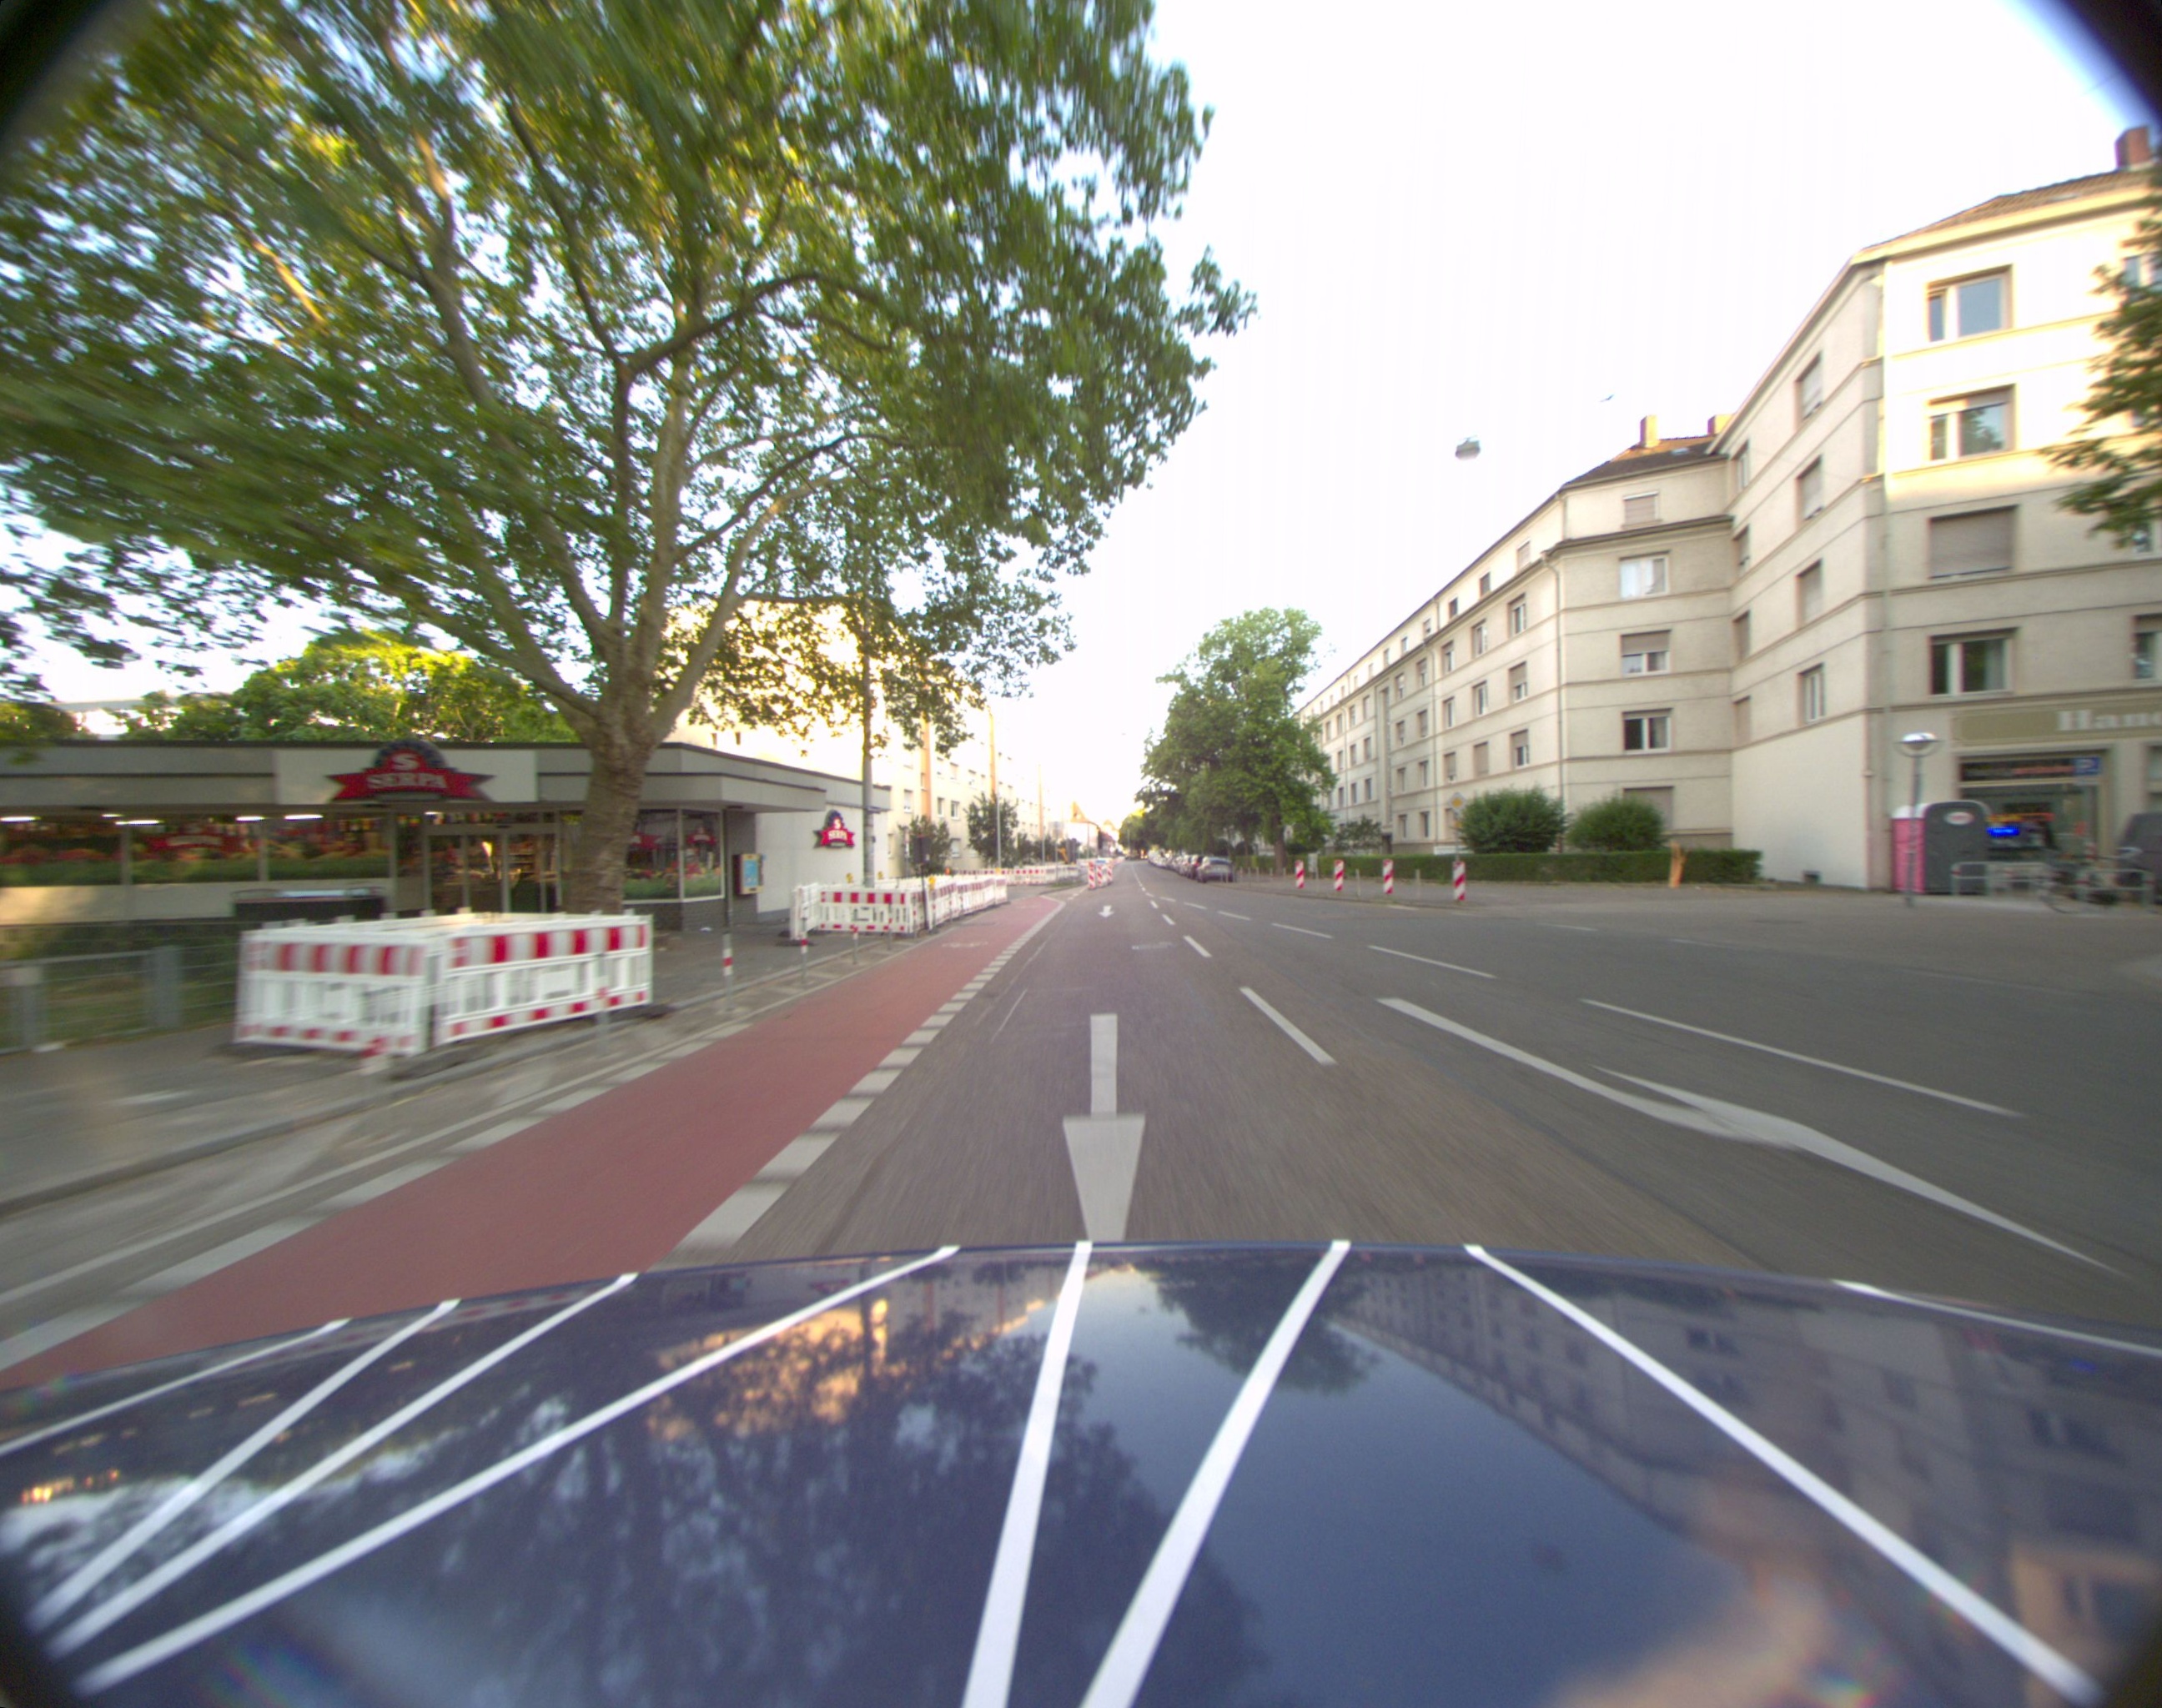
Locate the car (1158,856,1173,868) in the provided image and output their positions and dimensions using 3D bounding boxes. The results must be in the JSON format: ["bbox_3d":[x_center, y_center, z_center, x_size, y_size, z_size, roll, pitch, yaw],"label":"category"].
[{"bbox_3d":[12.049,1.080,108.510,1.892,1.591,4.260,-2,1,6],"label":"car"}]

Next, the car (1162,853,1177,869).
[{"bbox_3d":[11.474,0.861,98.839,1.892,1.855,4.260,-2,1,6],"label":"car"}]

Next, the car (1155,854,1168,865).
[{"bbox_3d":[13.071,0.834,123.434,1.892,1.591,4.260,-2,1,6],"label":"car"}]

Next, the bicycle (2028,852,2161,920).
[{"bbox_3d":[19.288,0.599,14.240,1.802,1.199,0.648,-2,1,33],"label":"bicycle"}]

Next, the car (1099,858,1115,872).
[{"bbox_3d":[3.623,1.507,103.959,1.892,1.726,4.260,-2,1,6],"label":"car"}]

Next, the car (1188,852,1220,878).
[{"bbox_3d":[8.506,0.730,52.800,1.892,1.681,4.260,-2,1,6],"label":"car"}]

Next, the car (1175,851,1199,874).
[{"bbox_3d":[9.190,0.706,66.046,1.892,1.764,4.260,-2,1,6],"label":"car"}]

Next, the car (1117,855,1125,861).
[{"bbox_3d":[10.304,0.994,196.355,1.892,1.591,4.260,-2,1,6],"label":"car"}]

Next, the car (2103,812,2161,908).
[{"bbox_3d":[22.499,0.148,14.183,1.995,1.945,4.647,0,2,24],"label":"car"}]

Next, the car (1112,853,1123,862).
[{"bbox_3d":[7.098,0.699,146.857,1.892,1.591,4.260,-2,1,6],"label":"car"}]

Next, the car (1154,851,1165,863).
[{"bbox_3d":[13.841,0.543,134.486,1.892,1.868,4.947,-2,1,6],"label":"car"}]

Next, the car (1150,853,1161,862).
[{"bbox_3d":[13.876,0.606,141.143,1.892,1.591,4.260,-2,1,6],"label":"car"}]

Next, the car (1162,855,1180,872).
[{"bbox_3d":[10.620,1.139,89.872,1.892,1.815,4.260,-2,1,6],"label":"car"}]

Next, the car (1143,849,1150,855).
[{"bbox_3d":[21.916,-0.777,255.625,1.998,1.838,3.999,-2,1,1],"label":"car"}]

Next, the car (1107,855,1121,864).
[{"bbox_3d":[5.334,0.914,122.878,1.892,1.306,4.260,-2,1,6],"label":"car"}]

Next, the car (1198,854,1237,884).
[{"bbox_3d":[7.996,0.839,44.779,1.892,1.591,4.001,-2,1,6],"label":"car"}]

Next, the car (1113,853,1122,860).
[{"bbox_3d":[8.452,0.604,175.481,1.892,1.591,4.260,-2,1,6],"label":"car"}]

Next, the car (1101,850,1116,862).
[{"bbox_3d":[4.115,0.277,112.480,1.892,1.651,4.260,-2,1,6],"label":"car"}]

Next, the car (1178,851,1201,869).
[{"bbox_3d":[10.169,0.557,71.556,1.892,1.591,4.260,-2,1,6],"label":"car"}]

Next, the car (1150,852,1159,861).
[{"bbox_3d":[15.153,0.487,156.724,1.892,1.591,4.260,-2,1,6],"label":"car"}]

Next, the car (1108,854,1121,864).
[{"bbox_3d":[5.818,0.914,132.006,1.892,1.591,4.260,-2,1,6],"label":"car"}]

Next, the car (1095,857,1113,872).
[{"bbox_3d":[2.807,1.263,91.673,1.892,1.591,4.260,-2,1,6],"label":"car"}]

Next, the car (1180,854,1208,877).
[{"bbox_3d":[8.916,0.884,60.099,1.892,1.591,4.260,-2,1,6],"label":"car"}]
